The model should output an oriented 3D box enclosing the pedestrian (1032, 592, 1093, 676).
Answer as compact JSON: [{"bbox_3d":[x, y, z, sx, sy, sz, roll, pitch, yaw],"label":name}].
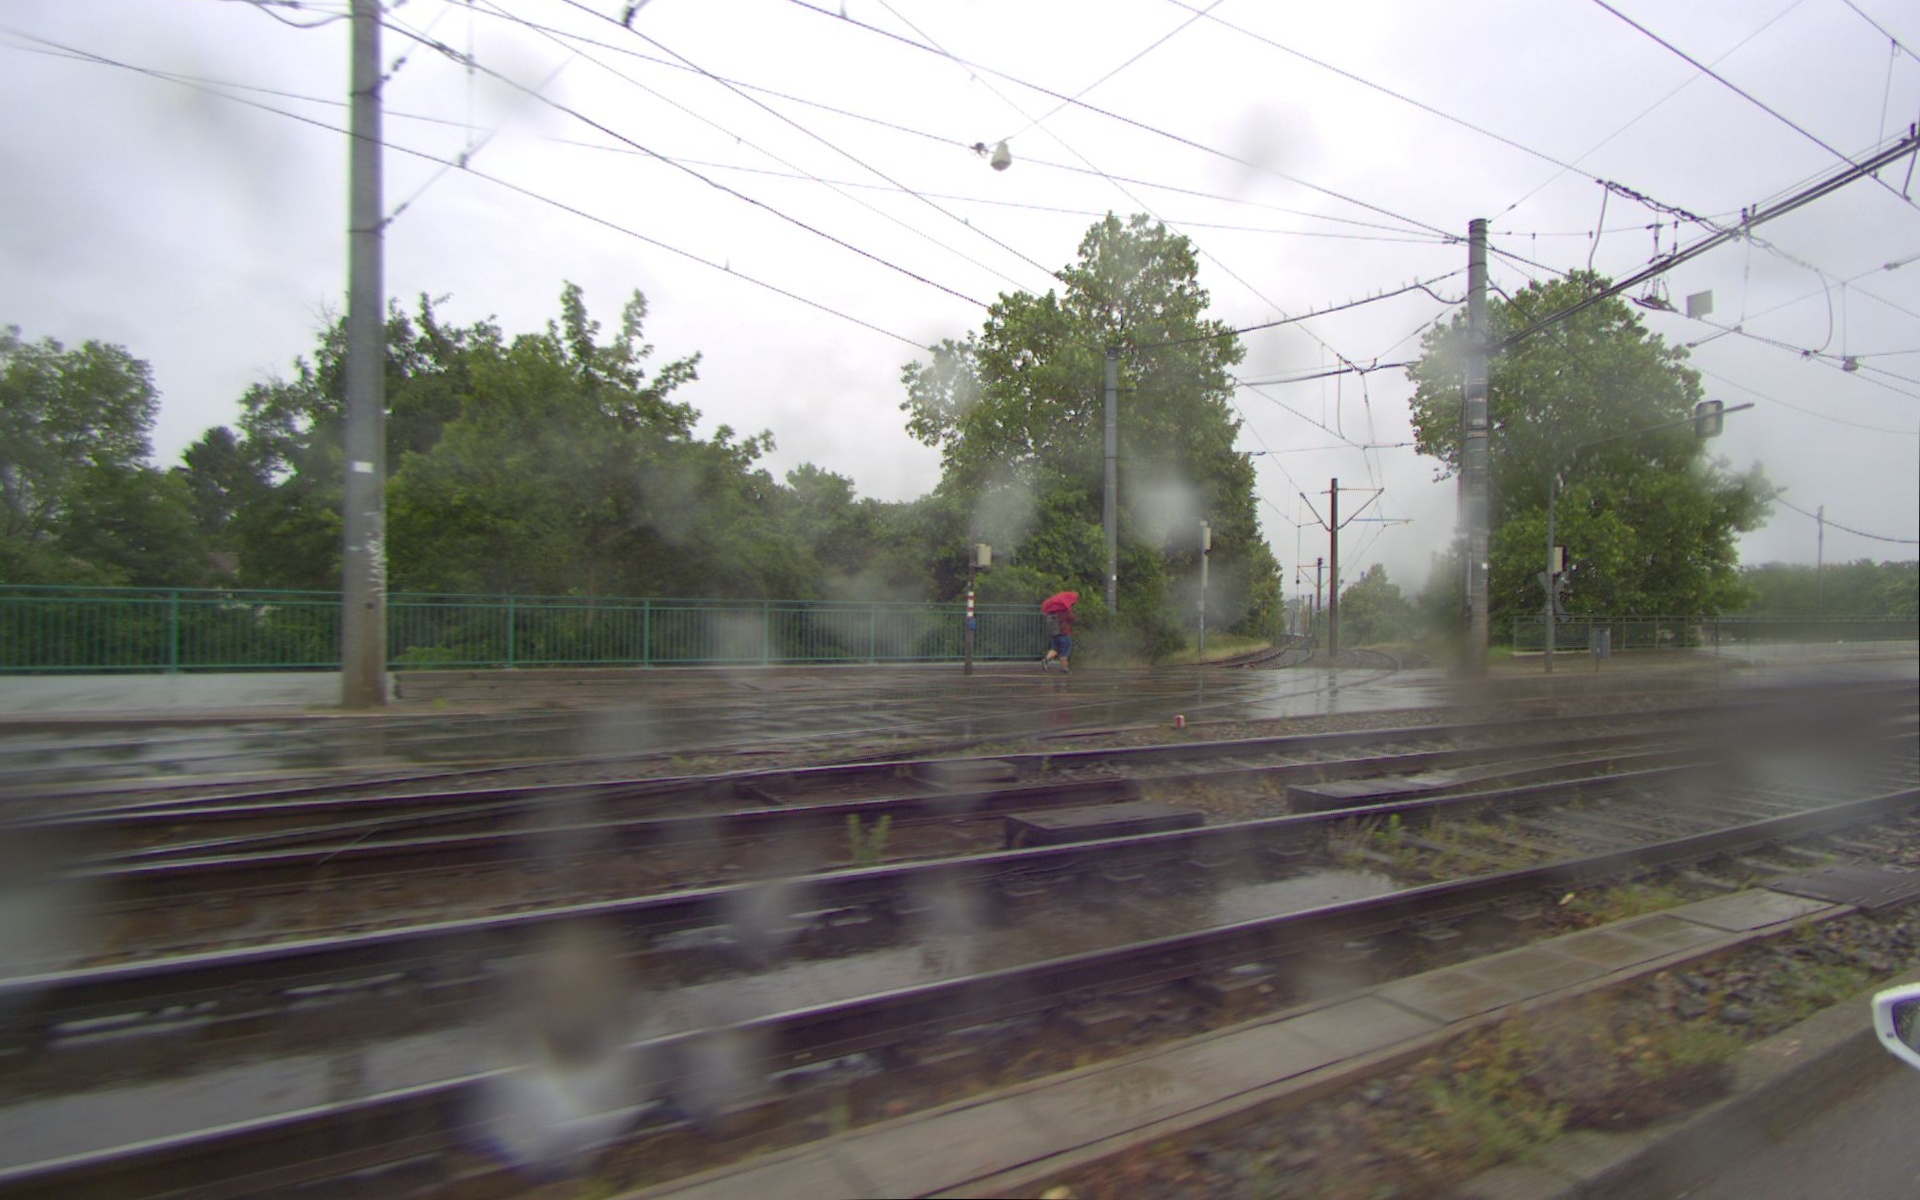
[{"bbox_3d":[2.334,0.772,22.909,1.031,1.843,0.860,2,1,-31],"label":"pedestrian"}]
